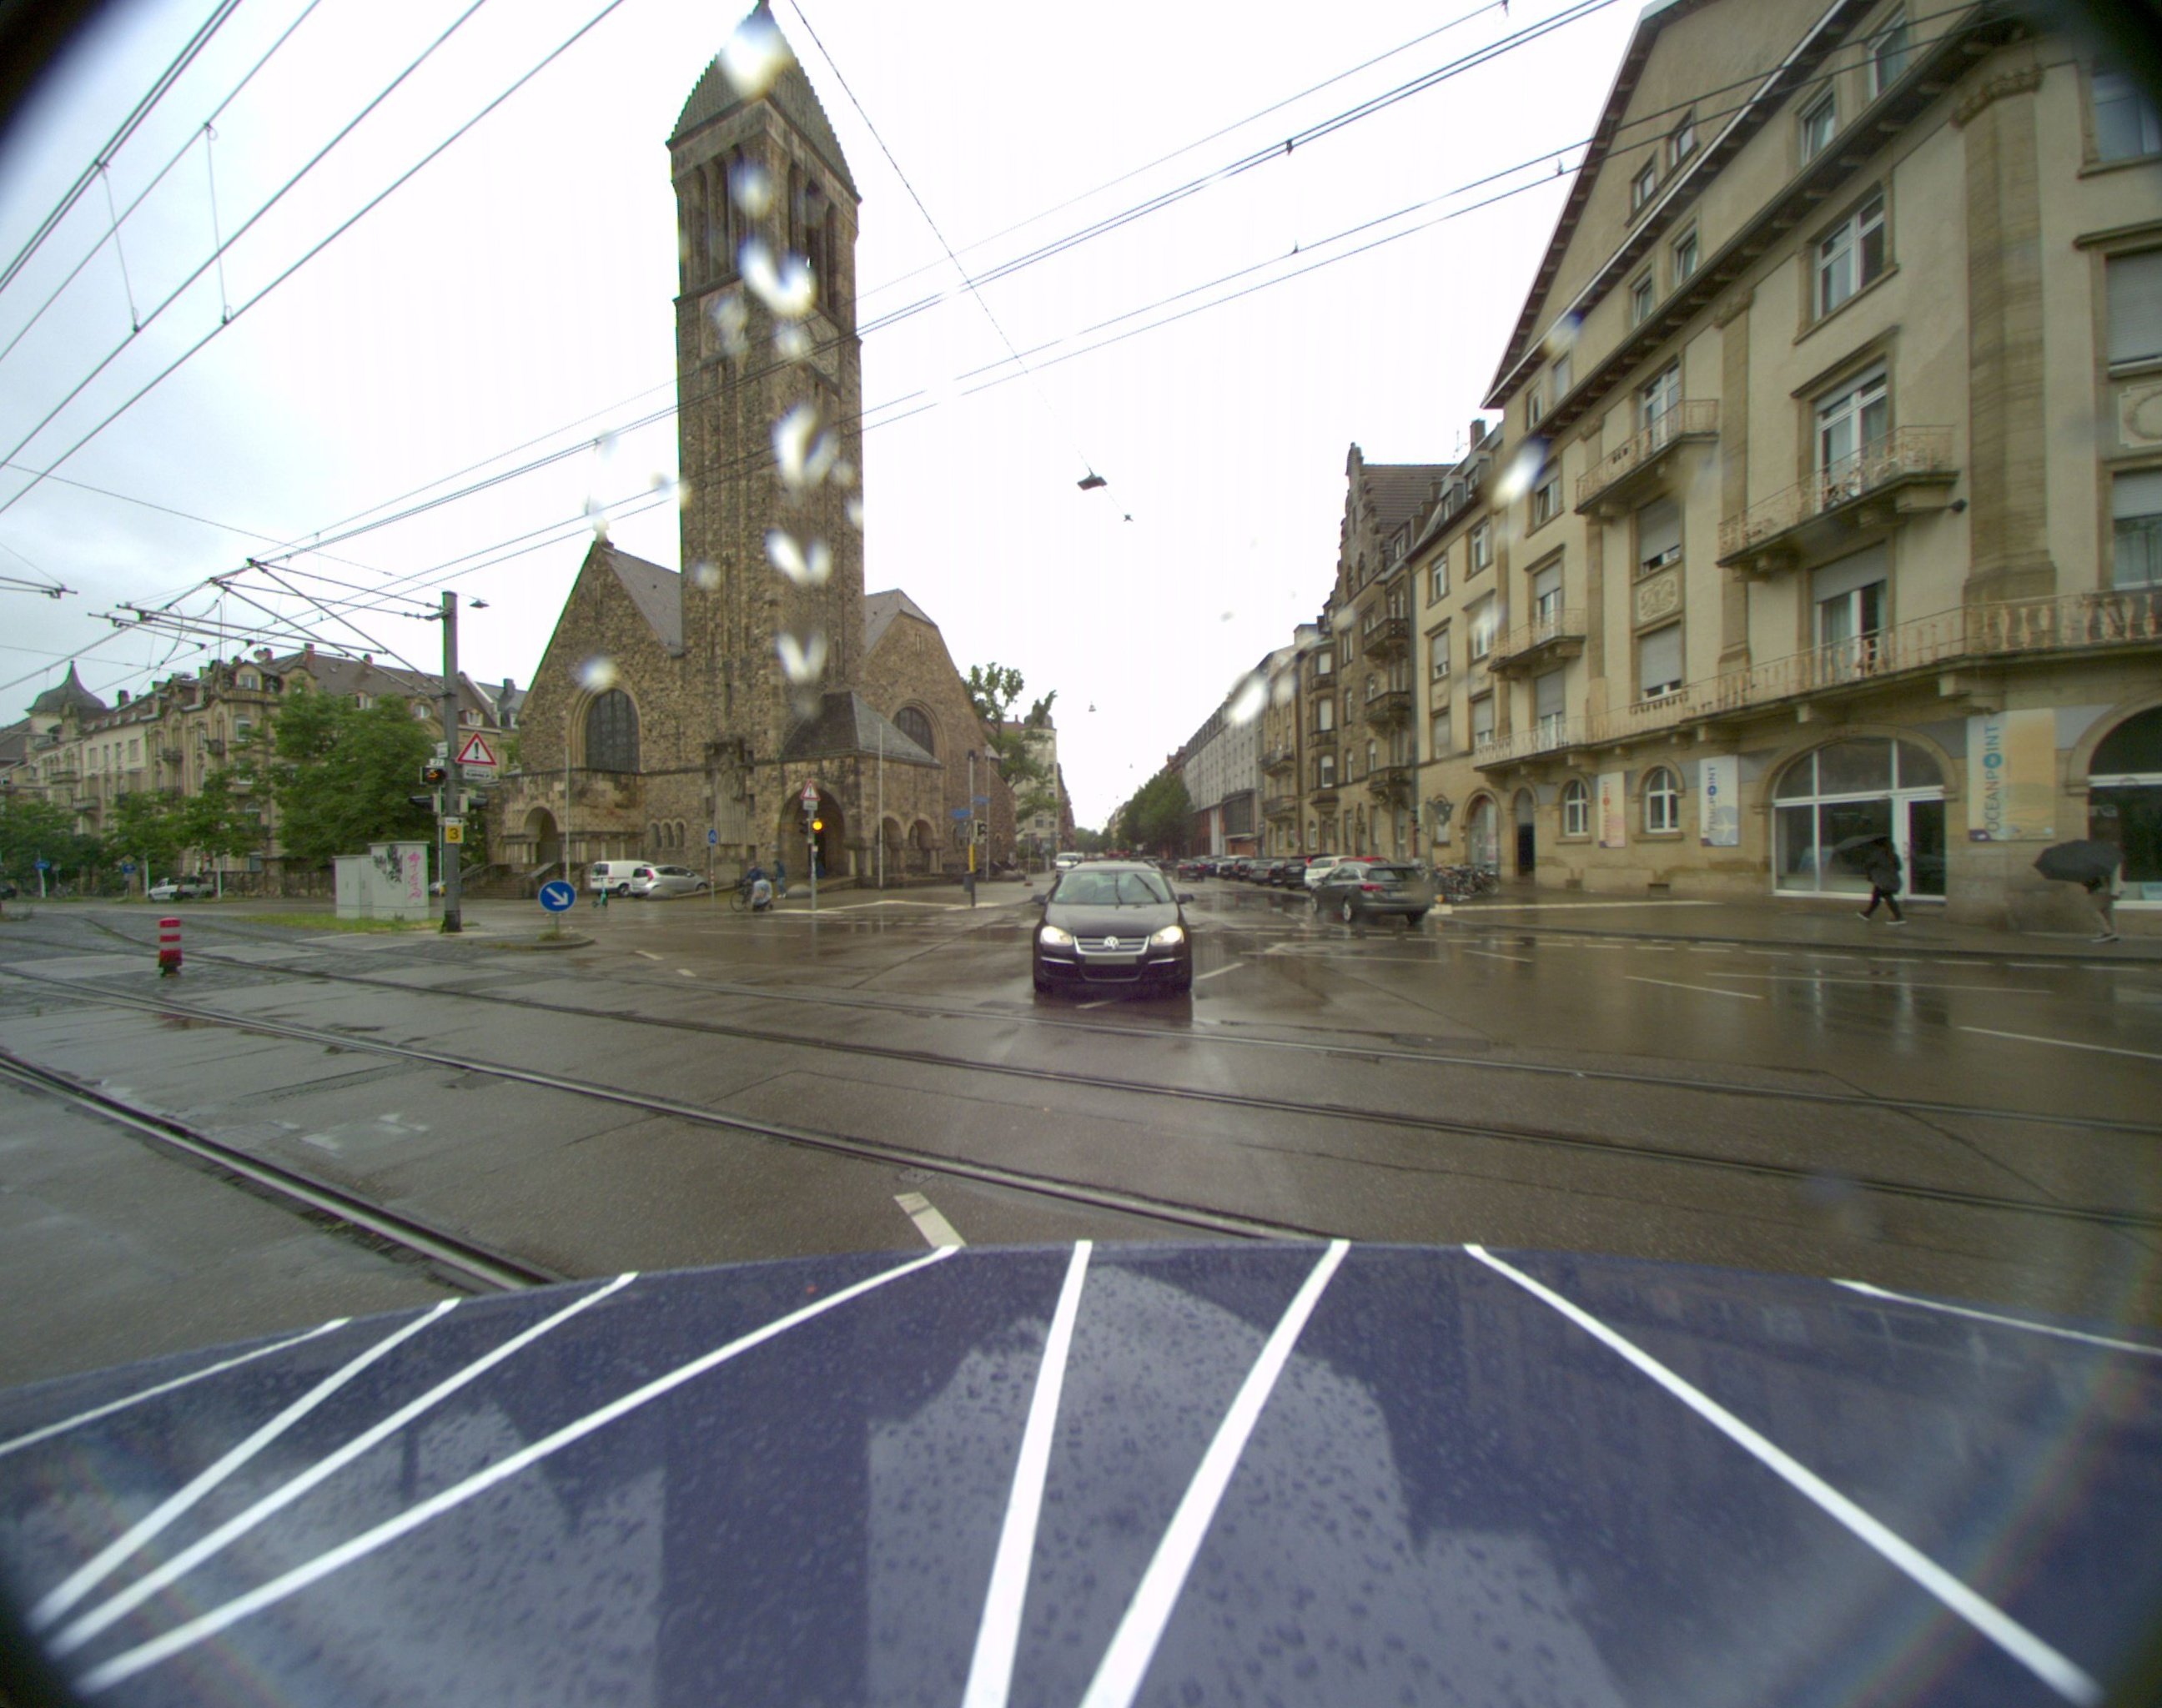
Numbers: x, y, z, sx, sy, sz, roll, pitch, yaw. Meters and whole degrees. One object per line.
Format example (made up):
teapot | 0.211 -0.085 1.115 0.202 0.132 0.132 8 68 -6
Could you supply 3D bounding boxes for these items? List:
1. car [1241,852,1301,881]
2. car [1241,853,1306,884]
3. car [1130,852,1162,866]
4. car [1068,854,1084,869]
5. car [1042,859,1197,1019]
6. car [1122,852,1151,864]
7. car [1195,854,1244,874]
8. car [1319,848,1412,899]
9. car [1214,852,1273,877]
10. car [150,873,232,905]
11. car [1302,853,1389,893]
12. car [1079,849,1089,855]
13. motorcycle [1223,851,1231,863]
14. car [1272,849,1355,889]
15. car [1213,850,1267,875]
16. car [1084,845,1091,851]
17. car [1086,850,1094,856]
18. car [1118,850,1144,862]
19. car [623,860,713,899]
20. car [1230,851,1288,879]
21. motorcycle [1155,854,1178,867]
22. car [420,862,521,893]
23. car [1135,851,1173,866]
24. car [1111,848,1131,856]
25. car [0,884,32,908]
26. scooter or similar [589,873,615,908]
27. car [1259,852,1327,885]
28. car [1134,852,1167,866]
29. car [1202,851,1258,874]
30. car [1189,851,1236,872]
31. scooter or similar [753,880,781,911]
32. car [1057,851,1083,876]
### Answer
car | 11.474 0.729 45.849 3.449 1.535 1.624 -3 0 -35
car | 10.816 0.796 42.609 3.435 1.535 1.697 -3 0 -38
car | 8.369 0.605 98.416 3.802 1.705 1.998 0 1 -9
car | -0.501 0.732 79.952 1.674 1.540 3.918 0 0 1
car | 0.417 0.863 9.634 1.547 1.553 4.070 0 0 1
car | 8.097 0.548 111.312 3.802 1.705 1.998 0 1 -9
car | 11.049 0.774 60.434 3.734 1.518 1.713 -1 1 -34
car | 11.651 0.774 31.037 4.006 1.499 1.800 -7 -1 -43
car | 11.042 0.712 51.724 3.733 1.535 1.774 -3 0 -34
car | -54.182 2.091 46.261 3.991 1.783 1.983 -1 1 21
car | 11.770 0.817 33.703 4.001 1.524 1.700 -2 0 -39
car | 0.763 -0.505 190.392 1.998 1.705 3.803 0 0 5
motorcycle | 15.618 0.342 81.226 0.546 1.221 1.676 0 1 1
car | 11.215 0.700 36.530 4.092 1.682 1.760 -3 0 -39
car | 11.506 0.608 54.979 3.734 1.617 1.774 -3 0 -37
car | 2.077 -1.951 234.855 1.837 1.827 4.001 0 0 5
car | 2.579 -0.238 211.831 1.998 1.705 4.376 0 0 5
car | 8.612 0.276 131.687 4.006 2.002 1.995 -1 1 -28
car | -20.028 1.203 36.987 1.732 1.566 3.362 -1 4 27
car | 11.449 0.699 48.726 3.765 1.535 1.624 -3 0 -39
motorcycle | 9.037 0.689 80.523 2.255 1.302 0.758 -3 1 1
car | -35.066 1.335 43.753 1.995 1.608 4.006 -1 1 25
car | 8.697 0.515 90.621 4.005 1.804 1.996 -1 1 -26
car | 8.327 -0.480 159.446 3.809 1.705 1.995 -1 1 -33
car | -86.478 3.367 61.061 3.990 1.766 1.784 -1 1 24
scooter or similar | -19.278 1.469 30.578 1.101 1.379 0.287 -1 1 23
car | 11.109 0.758 39.711 3.316 1.516 1.697 -3 0 -37
car | 8.734 0.591 95.315 3.802 1.705 1.998 0 1 -9
car | 11.346 0.628 57.795 3.732 1.519 1.897 -4 3 -30
car | 10.989 0.614 63.514 3.931 1.720 1.811 -1 1 -41
scooter or similar | -11.006 1.458 26.653 0.514 1.042 0.924 -1 0 3
car | -0.805 0.687 60.559 1.909 1.911 5.272 0 0 1
